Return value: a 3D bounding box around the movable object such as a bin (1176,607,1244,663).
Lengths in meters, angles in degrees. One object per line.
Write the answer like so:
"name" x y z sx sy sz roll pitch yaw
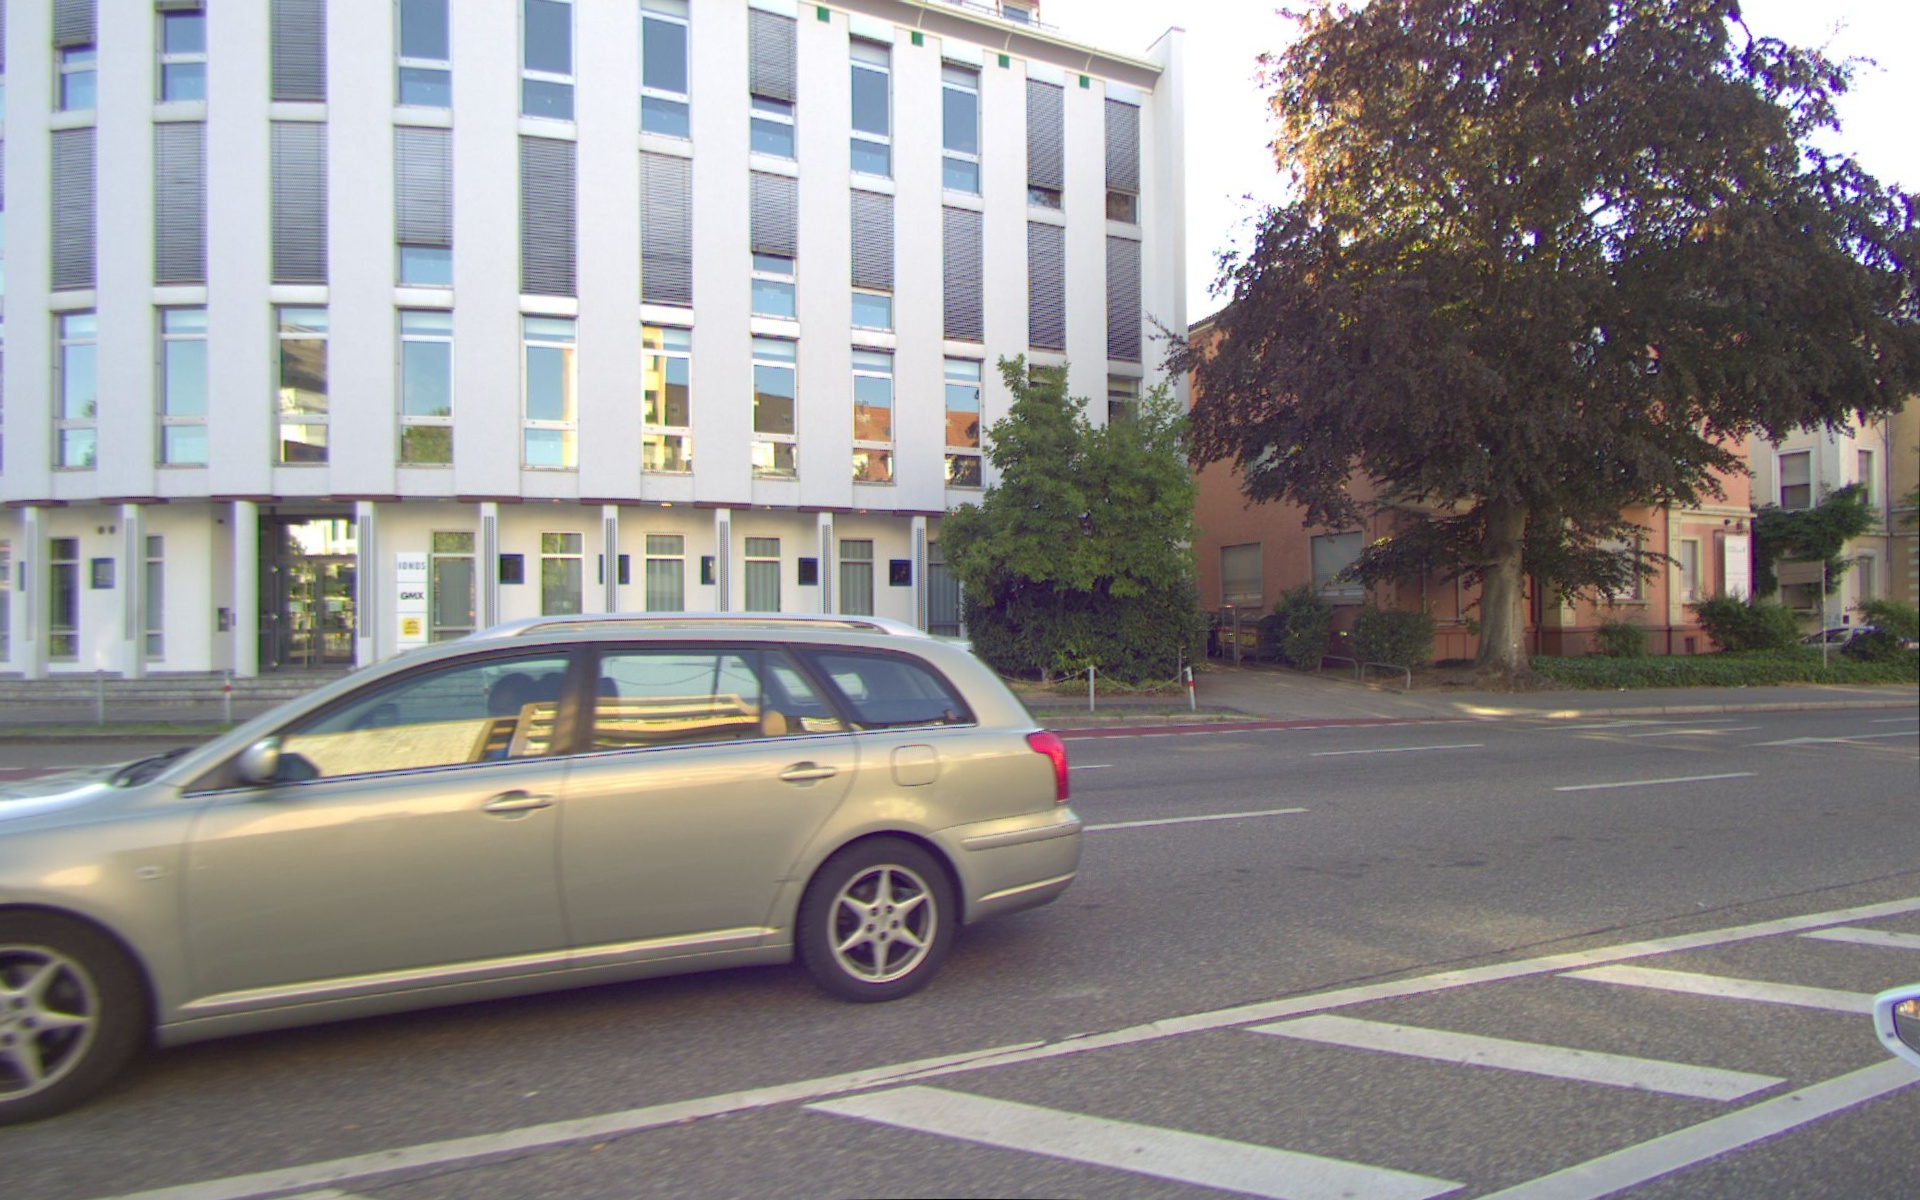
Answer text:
"movable object such as a bin" 7.728 1.067 31.087 1.435 1.673 1.501 0 -1 -21

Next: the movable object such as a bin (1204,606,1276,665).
"movable object such as a bin" 8.242 1.031 29.595 1.435 1.673 1.501 0 -1 -21

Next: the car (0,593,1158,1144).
"car" -1.604 0.764 4.230 4.537 1.534 1.824 0 -1 -22

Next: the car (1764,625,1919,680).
"car" 26.473 1.507 29.945 1.792 1.506 3.484 0 -1 -27

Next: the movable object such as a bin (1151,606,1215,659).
"movable object such as a bin" 7.233 1.044 32.648 1.435 1.673 1.501 0 -1 -21
